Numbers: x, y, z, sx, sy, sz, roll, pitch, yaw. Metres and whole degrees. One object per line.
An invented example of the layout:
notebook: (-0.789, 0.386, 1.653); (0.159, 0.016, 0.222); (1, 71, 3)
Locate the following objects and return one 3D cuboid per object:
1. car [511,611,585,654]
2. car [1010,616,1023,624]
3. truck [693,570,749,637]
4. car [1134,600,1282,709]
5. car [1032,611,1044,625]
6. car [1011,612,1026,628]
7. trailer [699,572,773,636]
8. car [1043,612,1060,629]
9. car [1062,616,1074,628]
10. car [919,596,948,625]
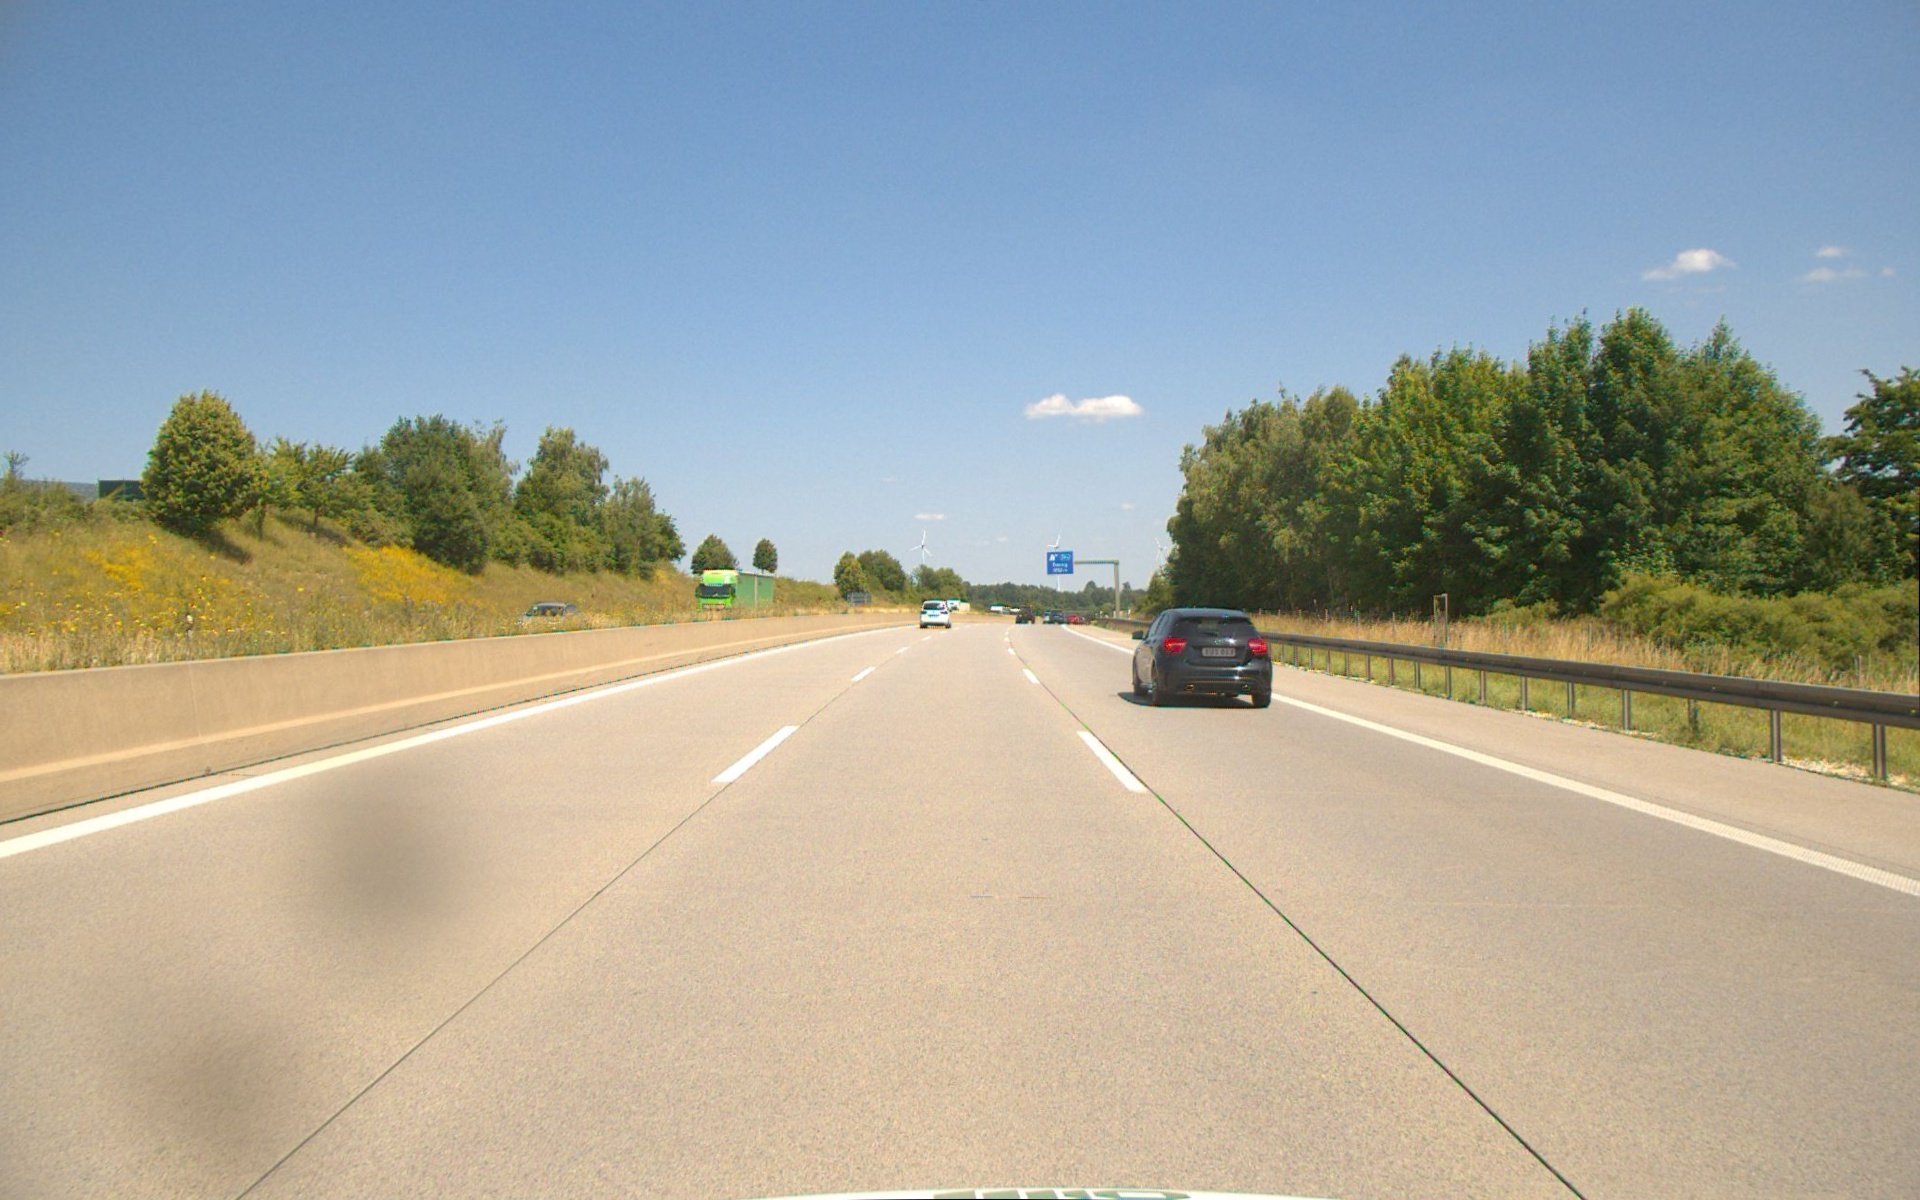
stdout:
car: (-16.092, 1.236, 64.806); (1.690, 1.612, 4.644); (0, 0, 0)
car: (8.782, 3.081, 255.791); (1.623, 1.217, 3.957); (3, 0, -3)
truck: (-17.535, 0.260, 121.801); (3.026, 4.743, 6.266); (0, 0, 1)
car: (3.786, 0.777, 25.867); (1.870, 1.518, 4.193); (1, 0, 3)
car: (12.312, 2.845, 262.014); (1.708, 2.025, 4.000); (0, 0, 1)
car: (7.150, 2.421, 202.878); (1.789, 1.971, 3.810); (0, 0, 2)
trailer: (-17.325, 0.302, 129.402); (3.091, 4.688, 16.440); (0, 0, 2)
car: (10.554, 2.384, 190.145); (1.789, 1.940, 4.000); (0, 0, 1)
car: (16.856, 3.454, 258.180); (1.751, 1.842, 3.746); (0, 0, 1)
car: (-1.690, 0.674, 105.824); (1.808, 1.738, 6.035); (0, 0, -1)
